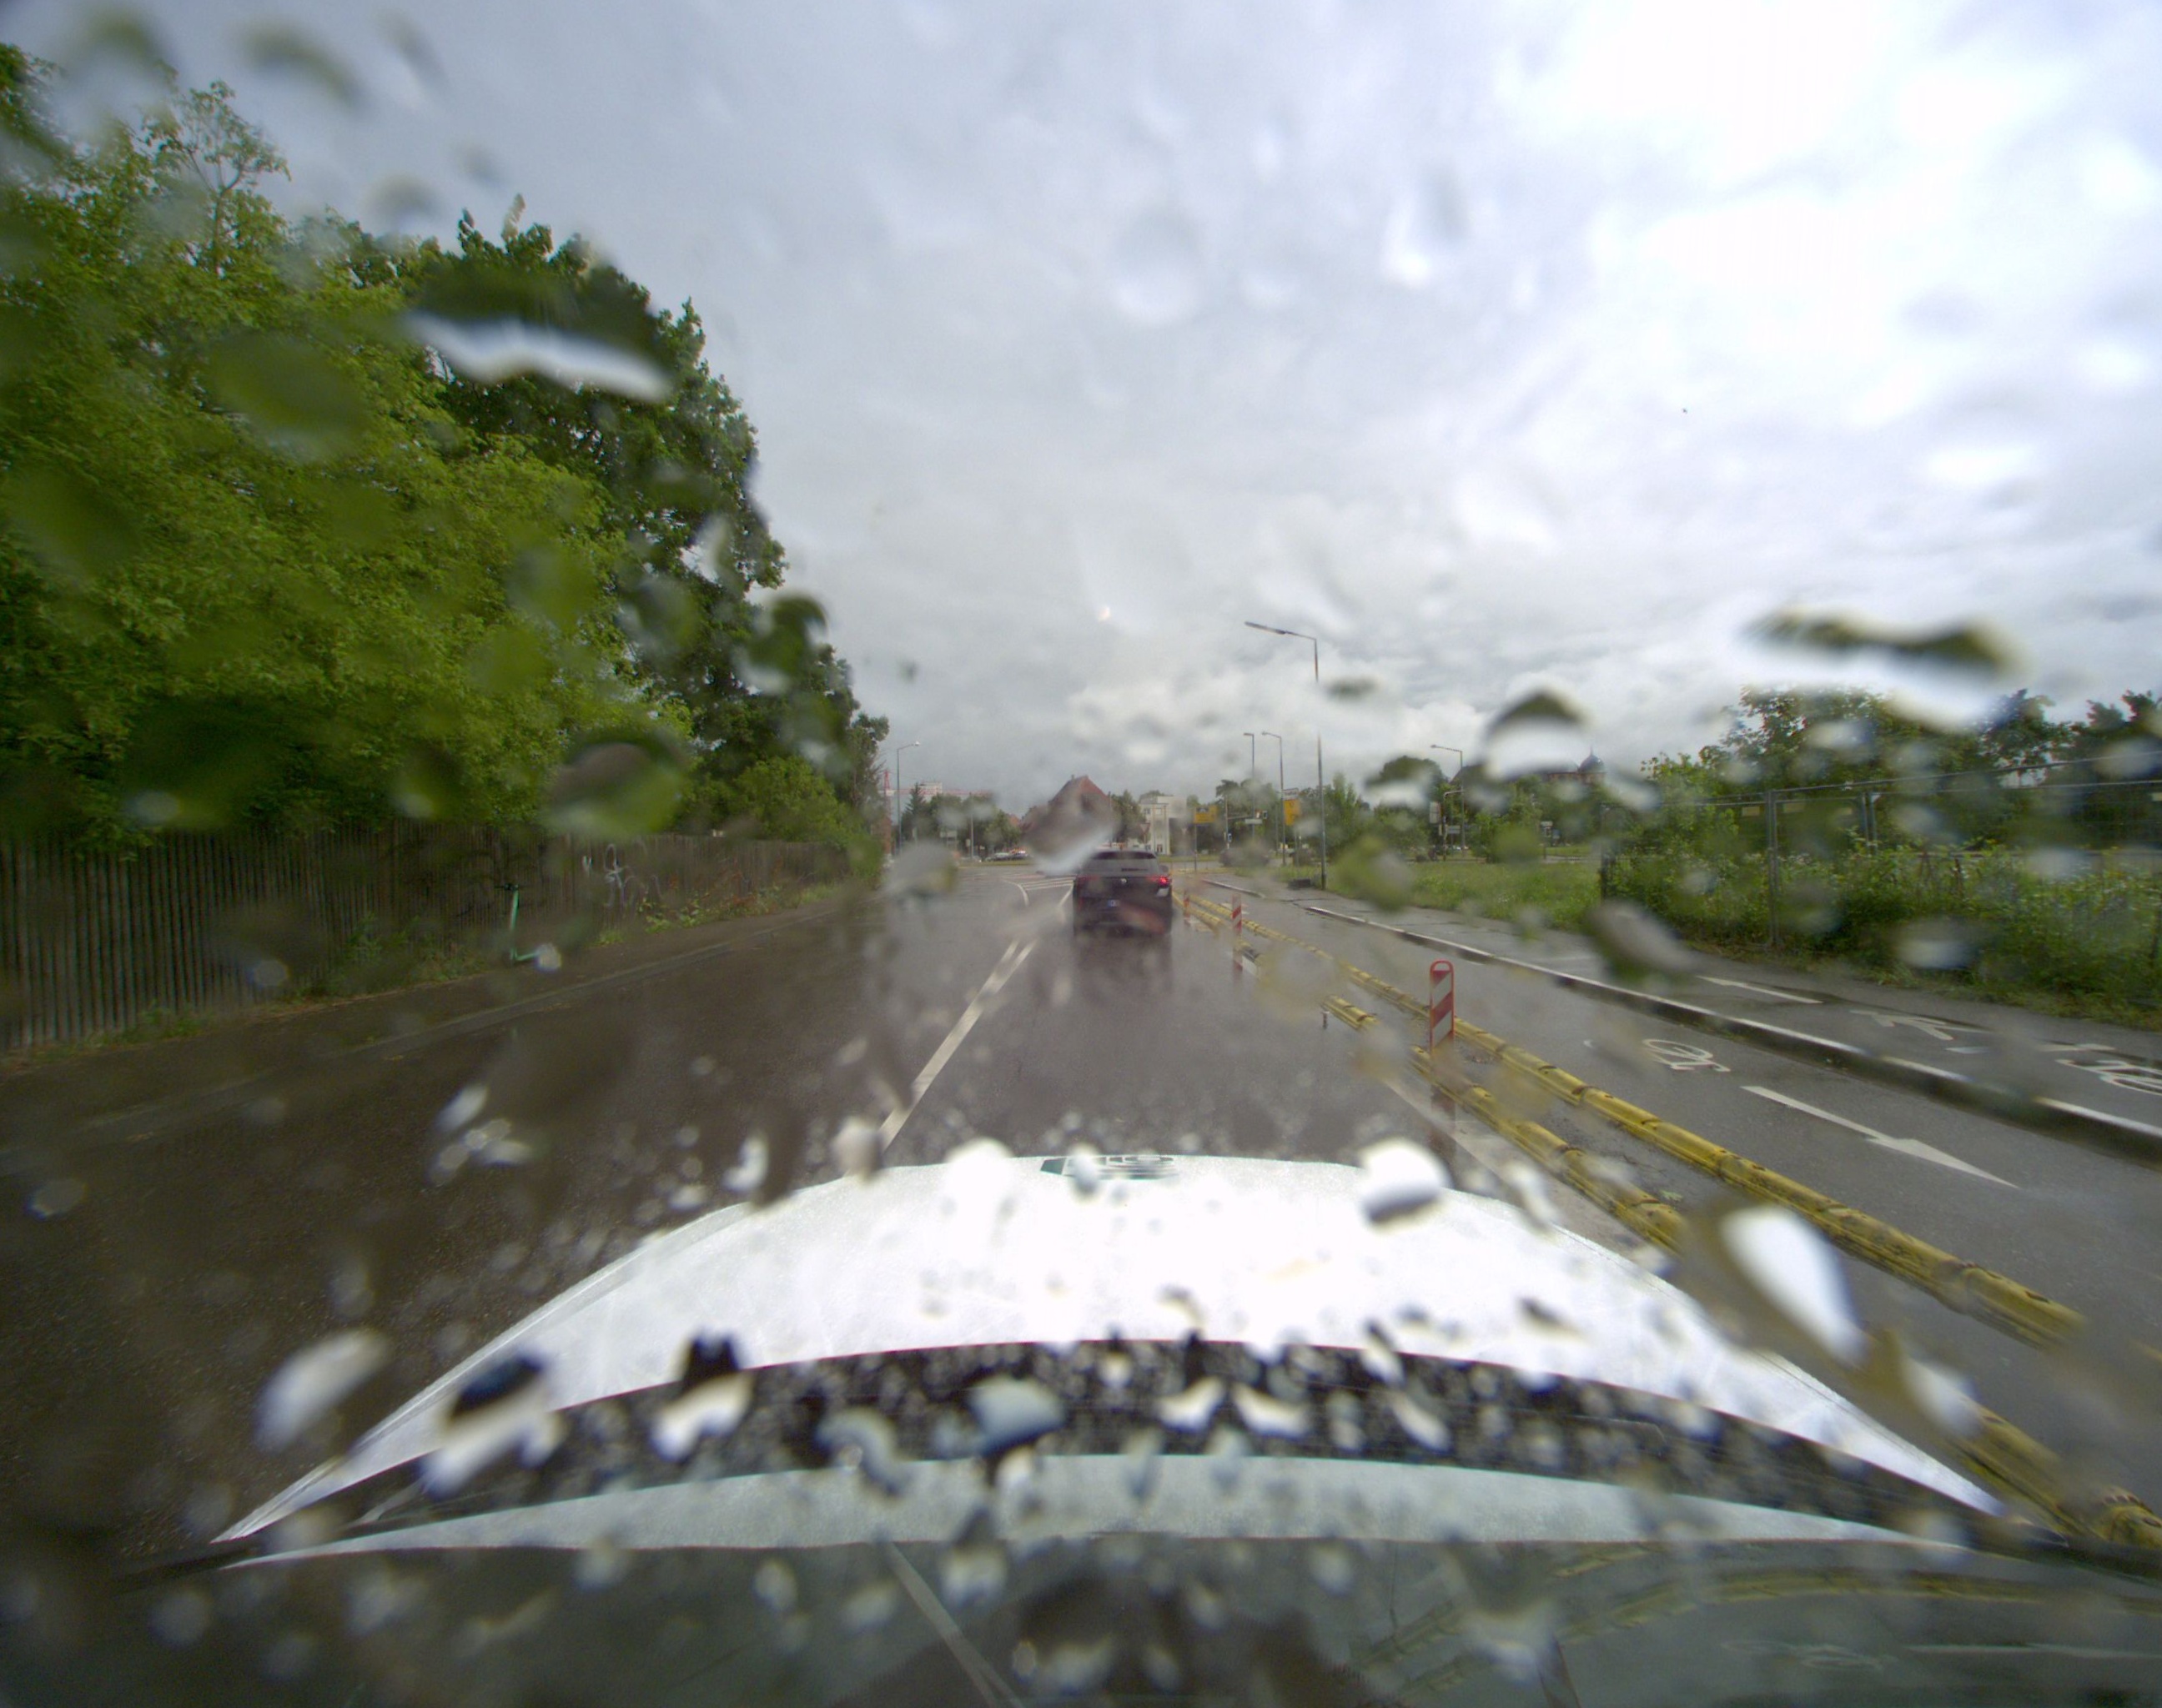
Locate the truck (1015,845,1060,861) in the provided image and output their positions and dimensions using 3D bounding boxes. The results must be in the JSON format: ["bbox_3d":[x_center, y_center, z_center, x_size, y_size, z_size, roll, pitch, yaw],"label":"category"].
[{"bbox_3d":[-6.937,-0.190,130.250,6.729,2.442,2.416,-2,0,-22],"label":"truck"}]

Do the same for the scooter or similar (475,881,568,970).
[{"bbox_3d":[-7.997,0.988,11.693,0.561,1.162,1.206,-1,0,-6],"label":"scooter or similar"}]

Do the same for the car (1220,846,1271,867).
[{"bbox_3d":[13.995,0.204,69.218,3.950,1.644,1.661,-1,0,-17],"label":"car"}]

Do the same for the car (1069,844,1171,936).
[{"bbox_3d":[0.651,0.626,15.911,1.704,1.574,3.680,0,0,-2],"label":"car"}]

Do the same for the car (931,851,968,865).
[{"bbox_3d":[-18.162,0.525,112.619,1.870,1.876,5.165,-1,0,38],"label":"car"}]

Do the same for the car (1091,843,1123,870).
[{"bbox_3d":[1.835,0.143,56.651,1.855,1.809,4.411,-1,0,6],"label":"car"}]

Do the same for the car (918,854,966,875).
[{"bbox_3d":[-12.915,0.953,75.591,3.948,1.830,2.013,-1,0,33],"label":"car"}]

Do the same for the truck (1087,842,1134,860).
[{"bbox_3d":[4.477,-0.422,123.983,7.038,2.650,2.331,-1,0,2],"label":"truck"}]
